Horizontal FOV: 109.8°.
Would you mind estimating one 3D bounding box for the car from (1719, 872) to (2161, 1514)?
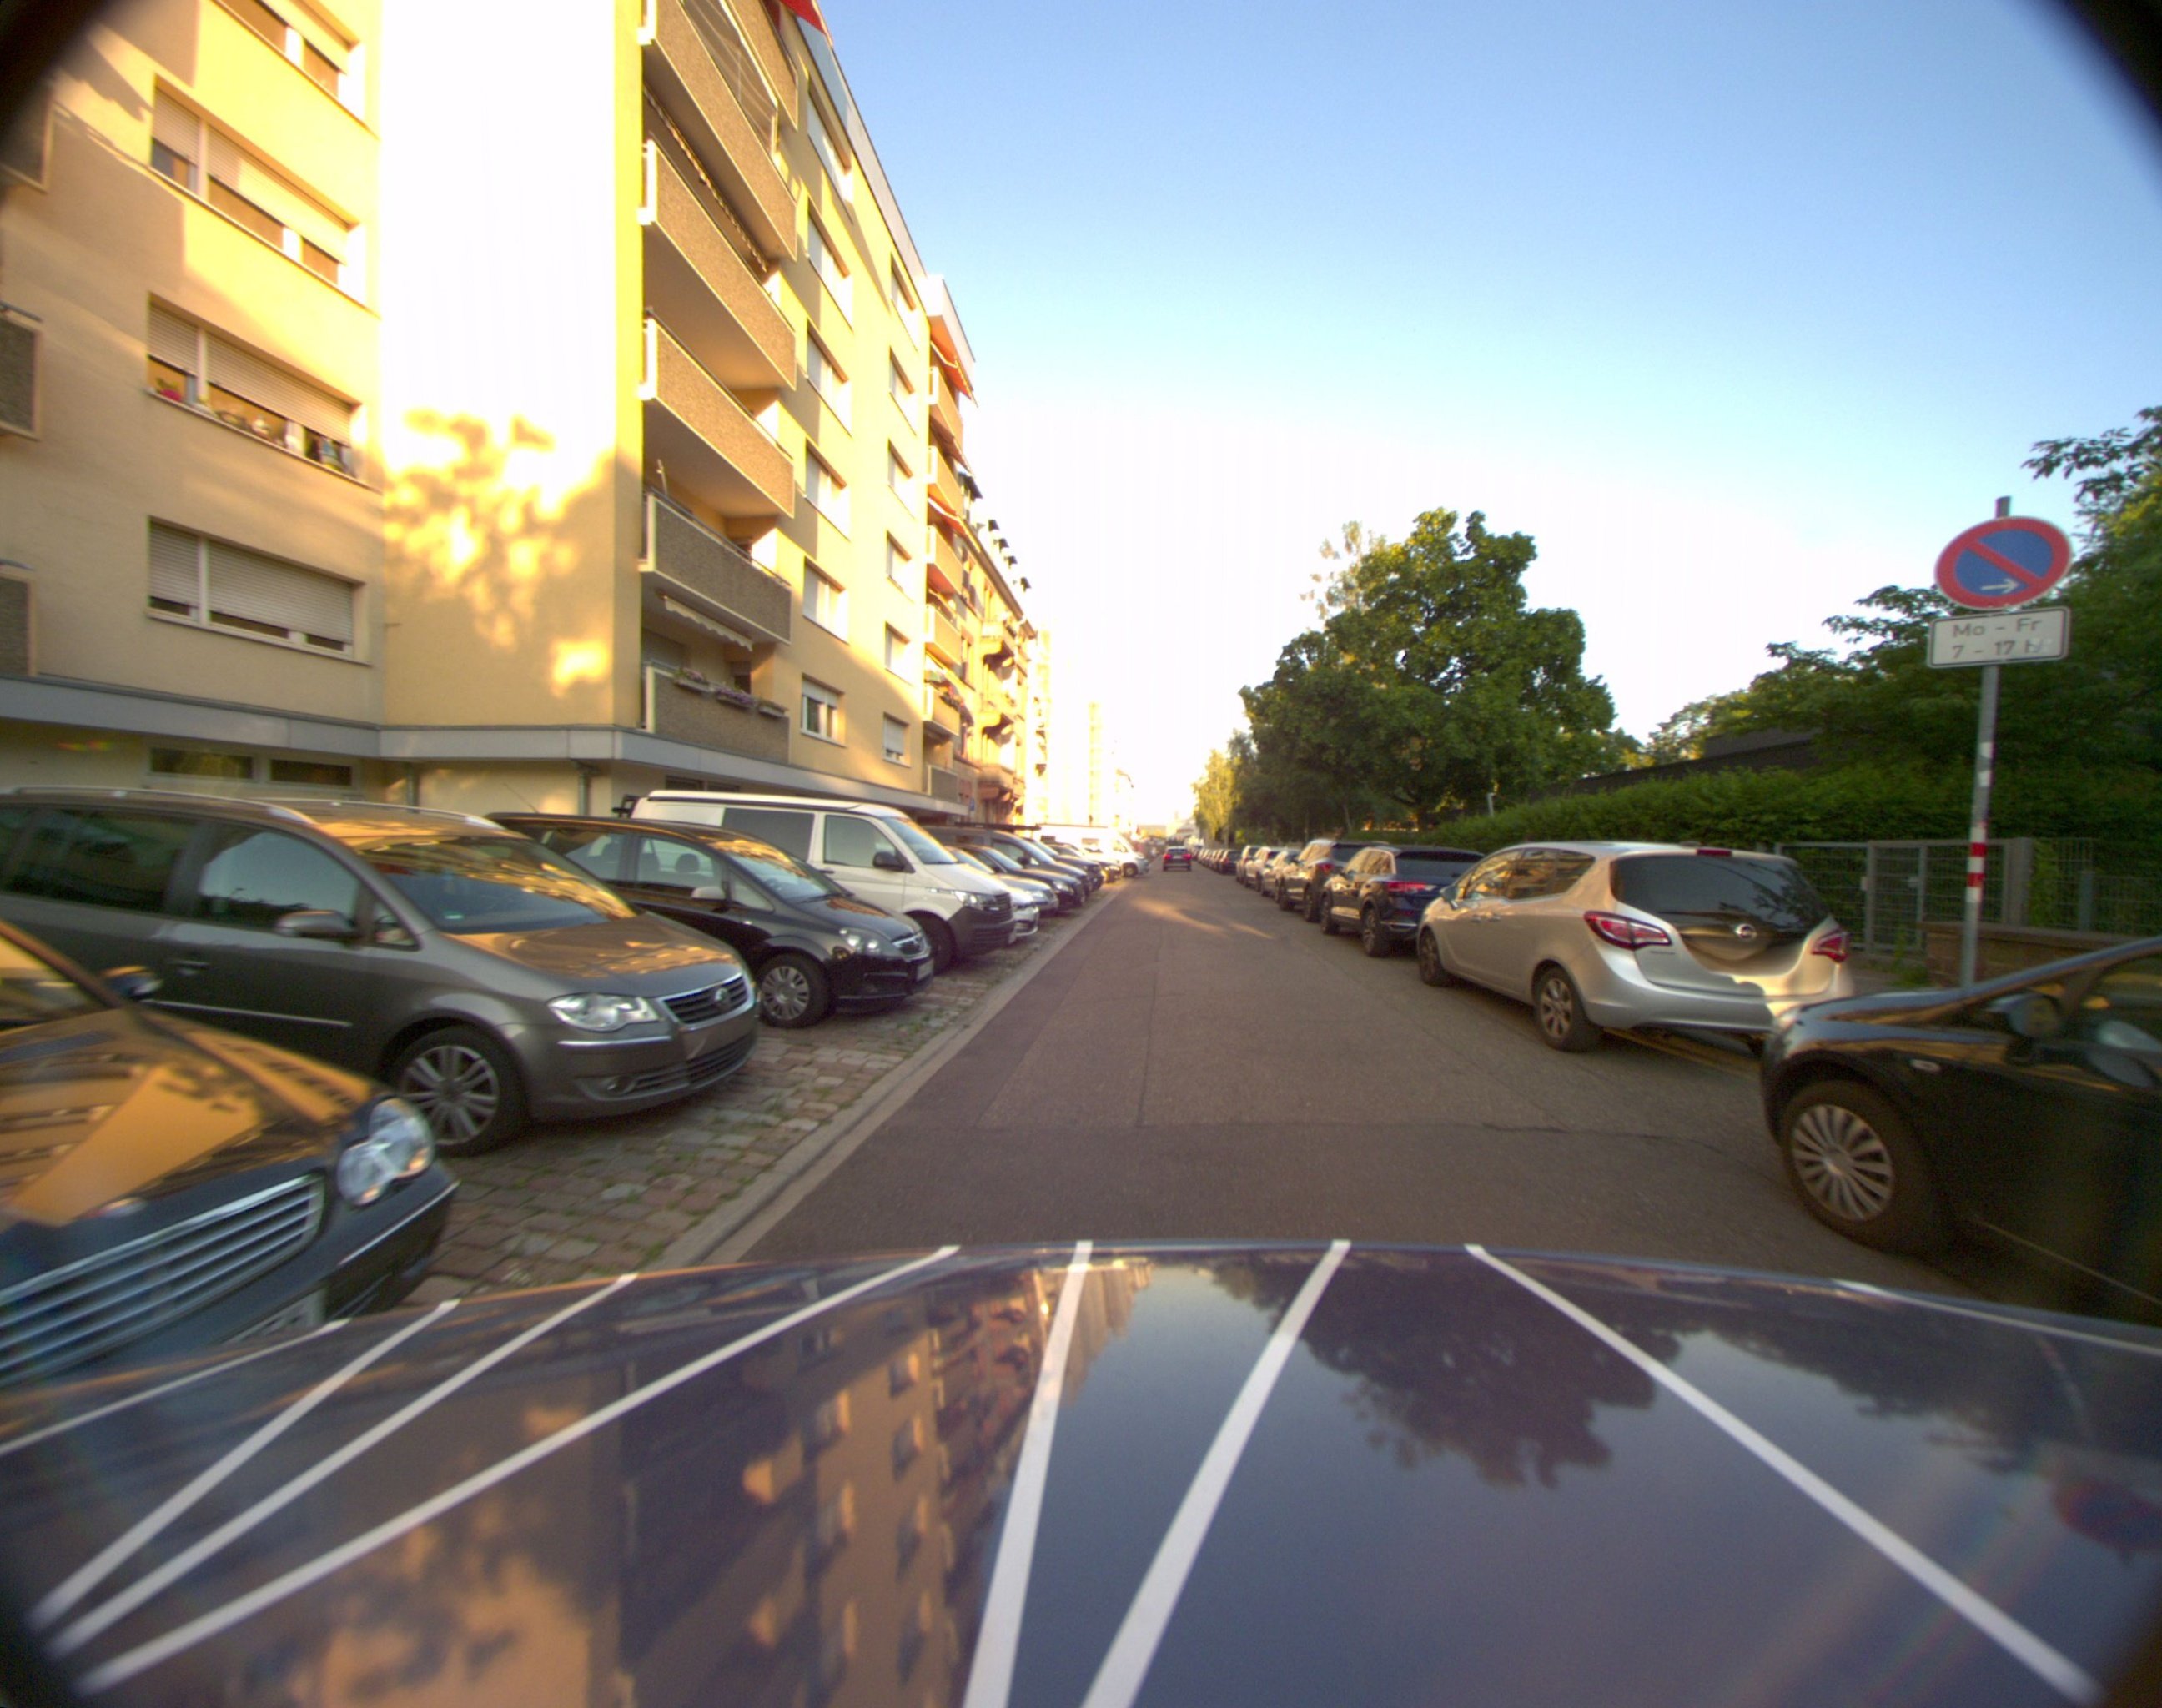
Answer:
[{"bbox_3d":[3.572,0.910,1.421,1.737,1.558,3.698,2,1,4],"label":"car"}]

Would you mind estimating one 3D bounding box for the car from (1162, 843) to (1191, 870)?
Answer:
[{"bbox_3d":[6.303,0.146,50.408,1.737,1.622,4.127,2,1,6],"label":"car"}]

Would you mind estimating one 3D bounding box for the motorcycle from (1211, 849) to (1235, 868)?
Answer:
[{"bbox_3d":[9.732,0.307,51.999,1.595,1.251,0.785,0,1,9],"label":"motorcycle"}]

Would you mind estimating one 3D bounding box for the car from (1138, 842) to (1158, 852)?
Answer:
[{"bbox_3d":[13.506,-1.382,153.129,3.995,2.002,2.001,0,1,6],"label":"car"}]

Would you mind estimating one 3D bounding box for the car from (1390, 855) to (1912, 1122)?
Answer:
[{"bbox_3d":[4.414,0.848,6.856,1.737,1.558,4.130,2,1,4],"label":"car"}]

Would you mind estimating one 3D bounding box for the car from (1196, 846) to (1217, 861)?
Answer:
[{"bbox_3d":[12.230,-0.059,74.099,1.737,1.359,4.293,2,1,6],"label":"car"}]

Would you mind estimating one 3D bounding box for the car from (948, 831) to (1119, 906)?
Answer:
[{"bbox_3d":[-1.269,0.366,21.463,4.521,1.852,1.846,2,2,6],"label":"car"}]

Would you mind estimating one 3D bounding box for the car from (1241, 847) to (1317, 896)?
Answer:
[{"bbox_3d":[6.848,0.547,26.726,1.762,1.534,4.281,2,1,4],"label":"car"}]

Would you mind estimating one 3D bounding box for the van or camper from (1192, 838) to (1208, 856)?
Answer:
[{"bbox_3d":[16.158,-0.955,103.452,1.824,2.401,4.293,2,1,6],"label":"van or camper"}]

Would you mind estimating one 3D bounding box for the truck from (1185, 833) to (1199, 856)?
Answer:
[{"bbox_3d":[19.008,-1.670,130.450,2.181,3.860,4.928,0,1,7],"label":"truck"}]

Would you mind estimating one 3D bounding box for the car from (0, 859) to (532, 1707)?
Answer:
[{"bbox_3d":[-4.086,0.812,1.740,4.413,1.523,1.845,2,3,4],"label":"car"}]

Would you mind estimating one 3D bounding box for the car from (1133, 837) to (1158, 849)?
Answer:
[{"bbox_3d":[10.527,-1.826,123.983,3.995,2.002,2.001,0,1,6],"label":"car"}]

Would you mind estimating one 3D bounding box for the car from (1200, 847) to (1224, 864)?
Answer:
[{"bbox_3d":[11.264,0.095,65.707,1.737,1.359,3.806,2,1,6],"label":"car"}]

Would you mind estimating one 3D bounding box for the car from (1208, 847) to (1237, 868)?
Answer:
[{"bbox_3d":[10.182,0.232,54.854,1.737,1.417,3.806,2,1,6],"label":"car"}]

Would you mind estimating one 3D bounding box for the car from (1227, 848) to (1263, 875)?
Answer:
[{"bbox_3d":[9.229,0.404,43.032,1.623,1.417,3.417,2,1,7],"label":"car"}]

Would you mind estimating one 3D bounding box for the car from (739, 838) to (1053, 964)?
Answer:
[{"bbox_3d":[-2.790,0.645,11.993,4.412,1.622,1.846,2,3,6],"label":"car"}]

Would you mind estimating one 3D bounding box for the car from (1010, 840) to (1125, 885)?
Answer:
[{"bbox_3d":[-0.510,0.323,30.797,4.412,1.545,1.846,2,3,7],"label":"car"}]

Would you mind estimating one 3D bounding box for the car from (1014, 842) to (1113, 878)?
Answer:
[{"bbox_3d":[-0.789,0.262,35.967,4.411,1.610,1.846,0,3,8],"label":"car"}]

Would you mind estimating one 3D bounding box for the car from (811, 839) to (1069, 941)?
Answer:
[{"bbox_3d":[-2.556,0.613,14.374,4.412,1.584,1.846,2,3,6],"label":"car"}]

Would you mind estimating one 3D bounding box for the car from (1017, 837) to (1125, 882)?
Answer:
[{"bbox_3d":[-0.389,0.211,33.370,4.410,1.739,1.846,2,3,10],"label":"car"}]

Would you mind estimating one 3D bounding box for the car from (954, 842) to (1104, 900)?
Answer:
[{"bbox_3d":[-1.604,0.508,24.175,4.411,1.545,1.846,2,3,9],"label":"car"}]

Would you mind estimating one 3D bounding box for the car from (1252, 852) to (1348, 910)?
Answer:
[{"bbox_3d":[6.150,0.692,21.848,1.737,1.418,4.287,2,1,4],"label":"car"}]

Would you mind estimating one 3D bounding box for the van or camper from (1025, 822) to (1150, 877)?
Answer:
[{"bbox_3d":[0.368,-0.271,38.699,6.071,2.490,2.051,2,1,7],"label":"van or camper"}]

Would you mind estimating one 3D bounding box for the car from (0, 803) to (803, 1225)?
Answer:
[{"bbox_3d":[-4.185,0.649,4.396,4.413,1.652,1.845,3,3,4],"label":"car"}]

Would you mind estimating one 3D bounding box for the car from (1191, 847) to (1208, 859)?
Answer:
[{"bbox_3d":[14.336,-0.182,92.219,1.737,1.359,4.293,2,1,6],"label":"car"}]

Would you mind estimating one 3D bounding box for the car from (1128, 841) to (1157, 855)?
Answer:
[{"bbox_3d":[8.912,-0.905,109.878,3.995,2.002,2.001,0,1,6],"label":"car"}]

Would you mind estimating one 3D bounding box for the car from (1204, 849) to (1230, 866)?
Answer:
[{"bbox_3d":[10.812,0.253,60.522,1.737,1.280,3.806,2,1,6],"label":"car"}]

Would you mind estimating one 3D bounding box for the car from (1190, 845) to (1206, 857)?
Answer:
[{"bbox_3d":[15.092,-0.394,97.849,1.737,1.502,4.293,2,1,6],"label":"car"}]

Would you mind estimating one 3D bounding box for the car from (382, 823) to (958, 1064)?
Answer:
[{"bbox_3d":[-3.519,0.665,6.983,4.335,1.652,1.781,3,3,4],"label":"car"}]

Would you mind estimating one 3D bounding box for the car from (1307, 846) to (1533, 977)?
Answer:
[{"bbox_3d":[4.830,0.688,11.539,1.737,1.558,4.168,2,1,4],"label":"car"}]

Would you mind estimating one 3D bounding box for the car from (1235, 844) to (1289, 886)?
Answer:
[{"bbox_3d":[7.569,0.406,32.042,1.737,1.622,3.982,2,1,7],"label":"car"}]

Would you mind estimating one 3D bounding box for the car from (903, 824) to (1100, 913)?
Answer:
[{"bbox_3d":[-1.939,0.309,19.252,4.646,1.971,1.846,2,3,6],"label":"car"}]

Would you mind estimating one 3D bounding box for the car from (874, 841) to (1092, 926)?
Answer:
[{"bbox_3d":[-2.065,0.588,16.701,4.412,1.554,1.846,2,3,6],"label":"car"}]

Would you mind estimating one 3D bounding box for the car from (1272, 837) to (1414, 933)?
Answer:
[{"bbox_3d":[5.391,0.542,16.255,1.737,1.720,4.323,2,1,4],"label":"car"}]

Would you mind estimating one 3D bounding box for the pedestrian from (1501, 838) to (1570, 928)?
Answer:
[{"bbox_3d":[9.033,0.555,15.142,0.901,1.722,0.750,-2,1,5],"label":"pedestrian"}]

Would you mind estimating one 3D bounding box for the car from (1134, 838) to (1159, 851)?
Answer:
[{"bbox_3d":[10.445,-1.529,120.878,3.995,2.002,2.001,0,1,6],"label":"car"}]

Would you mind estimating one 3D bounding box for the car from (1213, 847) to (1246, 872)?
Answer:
[{"bbox_3d":[9.410,0.332,48.418,1.737,1.438,3.806,2,1,7],"label":"car"}]

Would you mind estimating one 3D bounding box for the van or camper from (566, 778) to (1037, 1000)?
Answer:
[{"bbox_3d":[-3.332,0.350,9.691,5.143,2.156,2.040,4,2,5],"label":"van or camper"}]
